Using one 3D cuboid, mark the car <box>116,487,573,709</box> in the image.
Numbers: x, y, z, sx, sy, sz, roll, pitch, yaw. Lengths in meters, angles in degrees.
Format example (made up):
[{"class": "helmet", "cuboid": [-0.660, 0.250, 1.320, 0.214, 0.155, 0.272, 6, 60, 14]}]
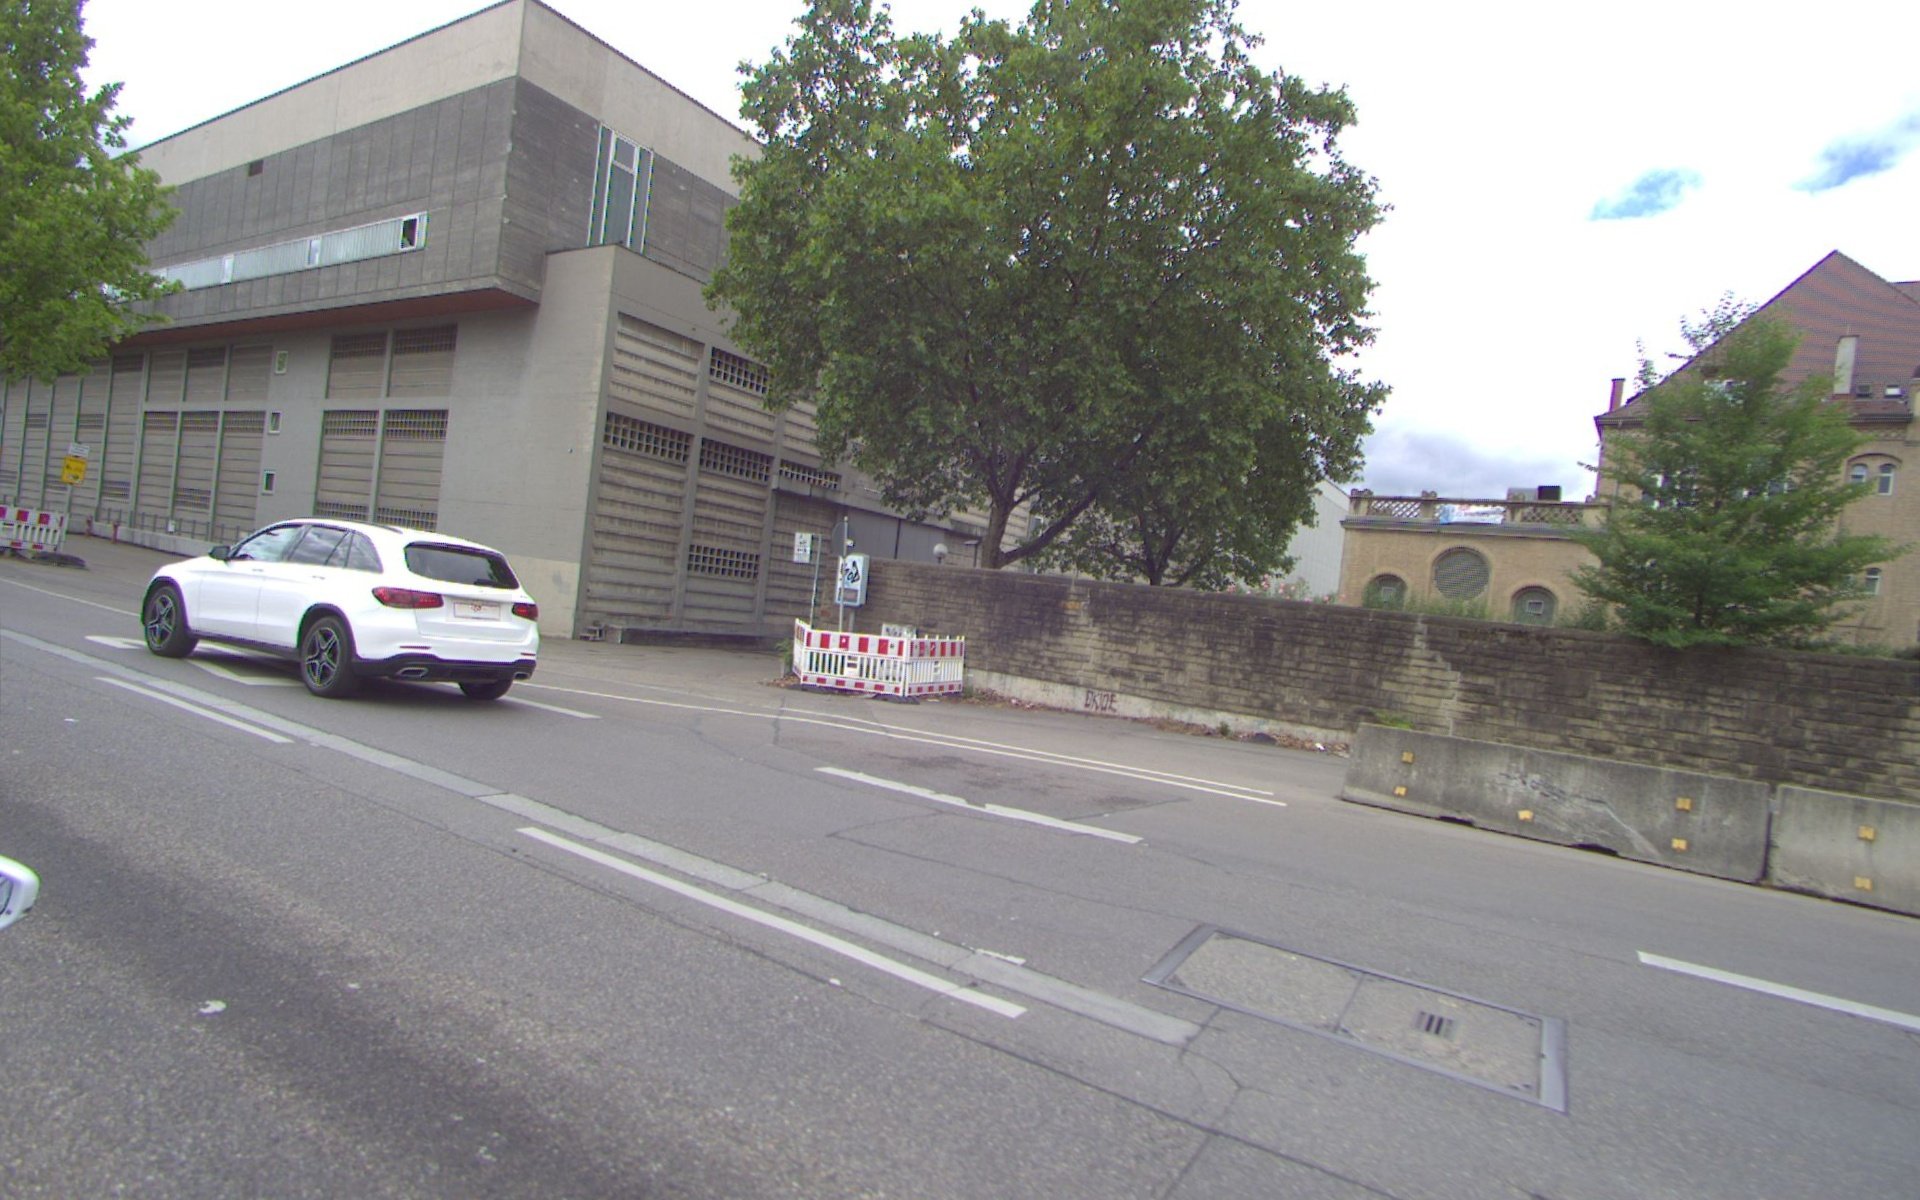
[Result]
[{"class": "car", "cuboid": [-6.431, -0.044, 10.441, 4.472, 1.661, 1.817, 7, -2, 27]}]
